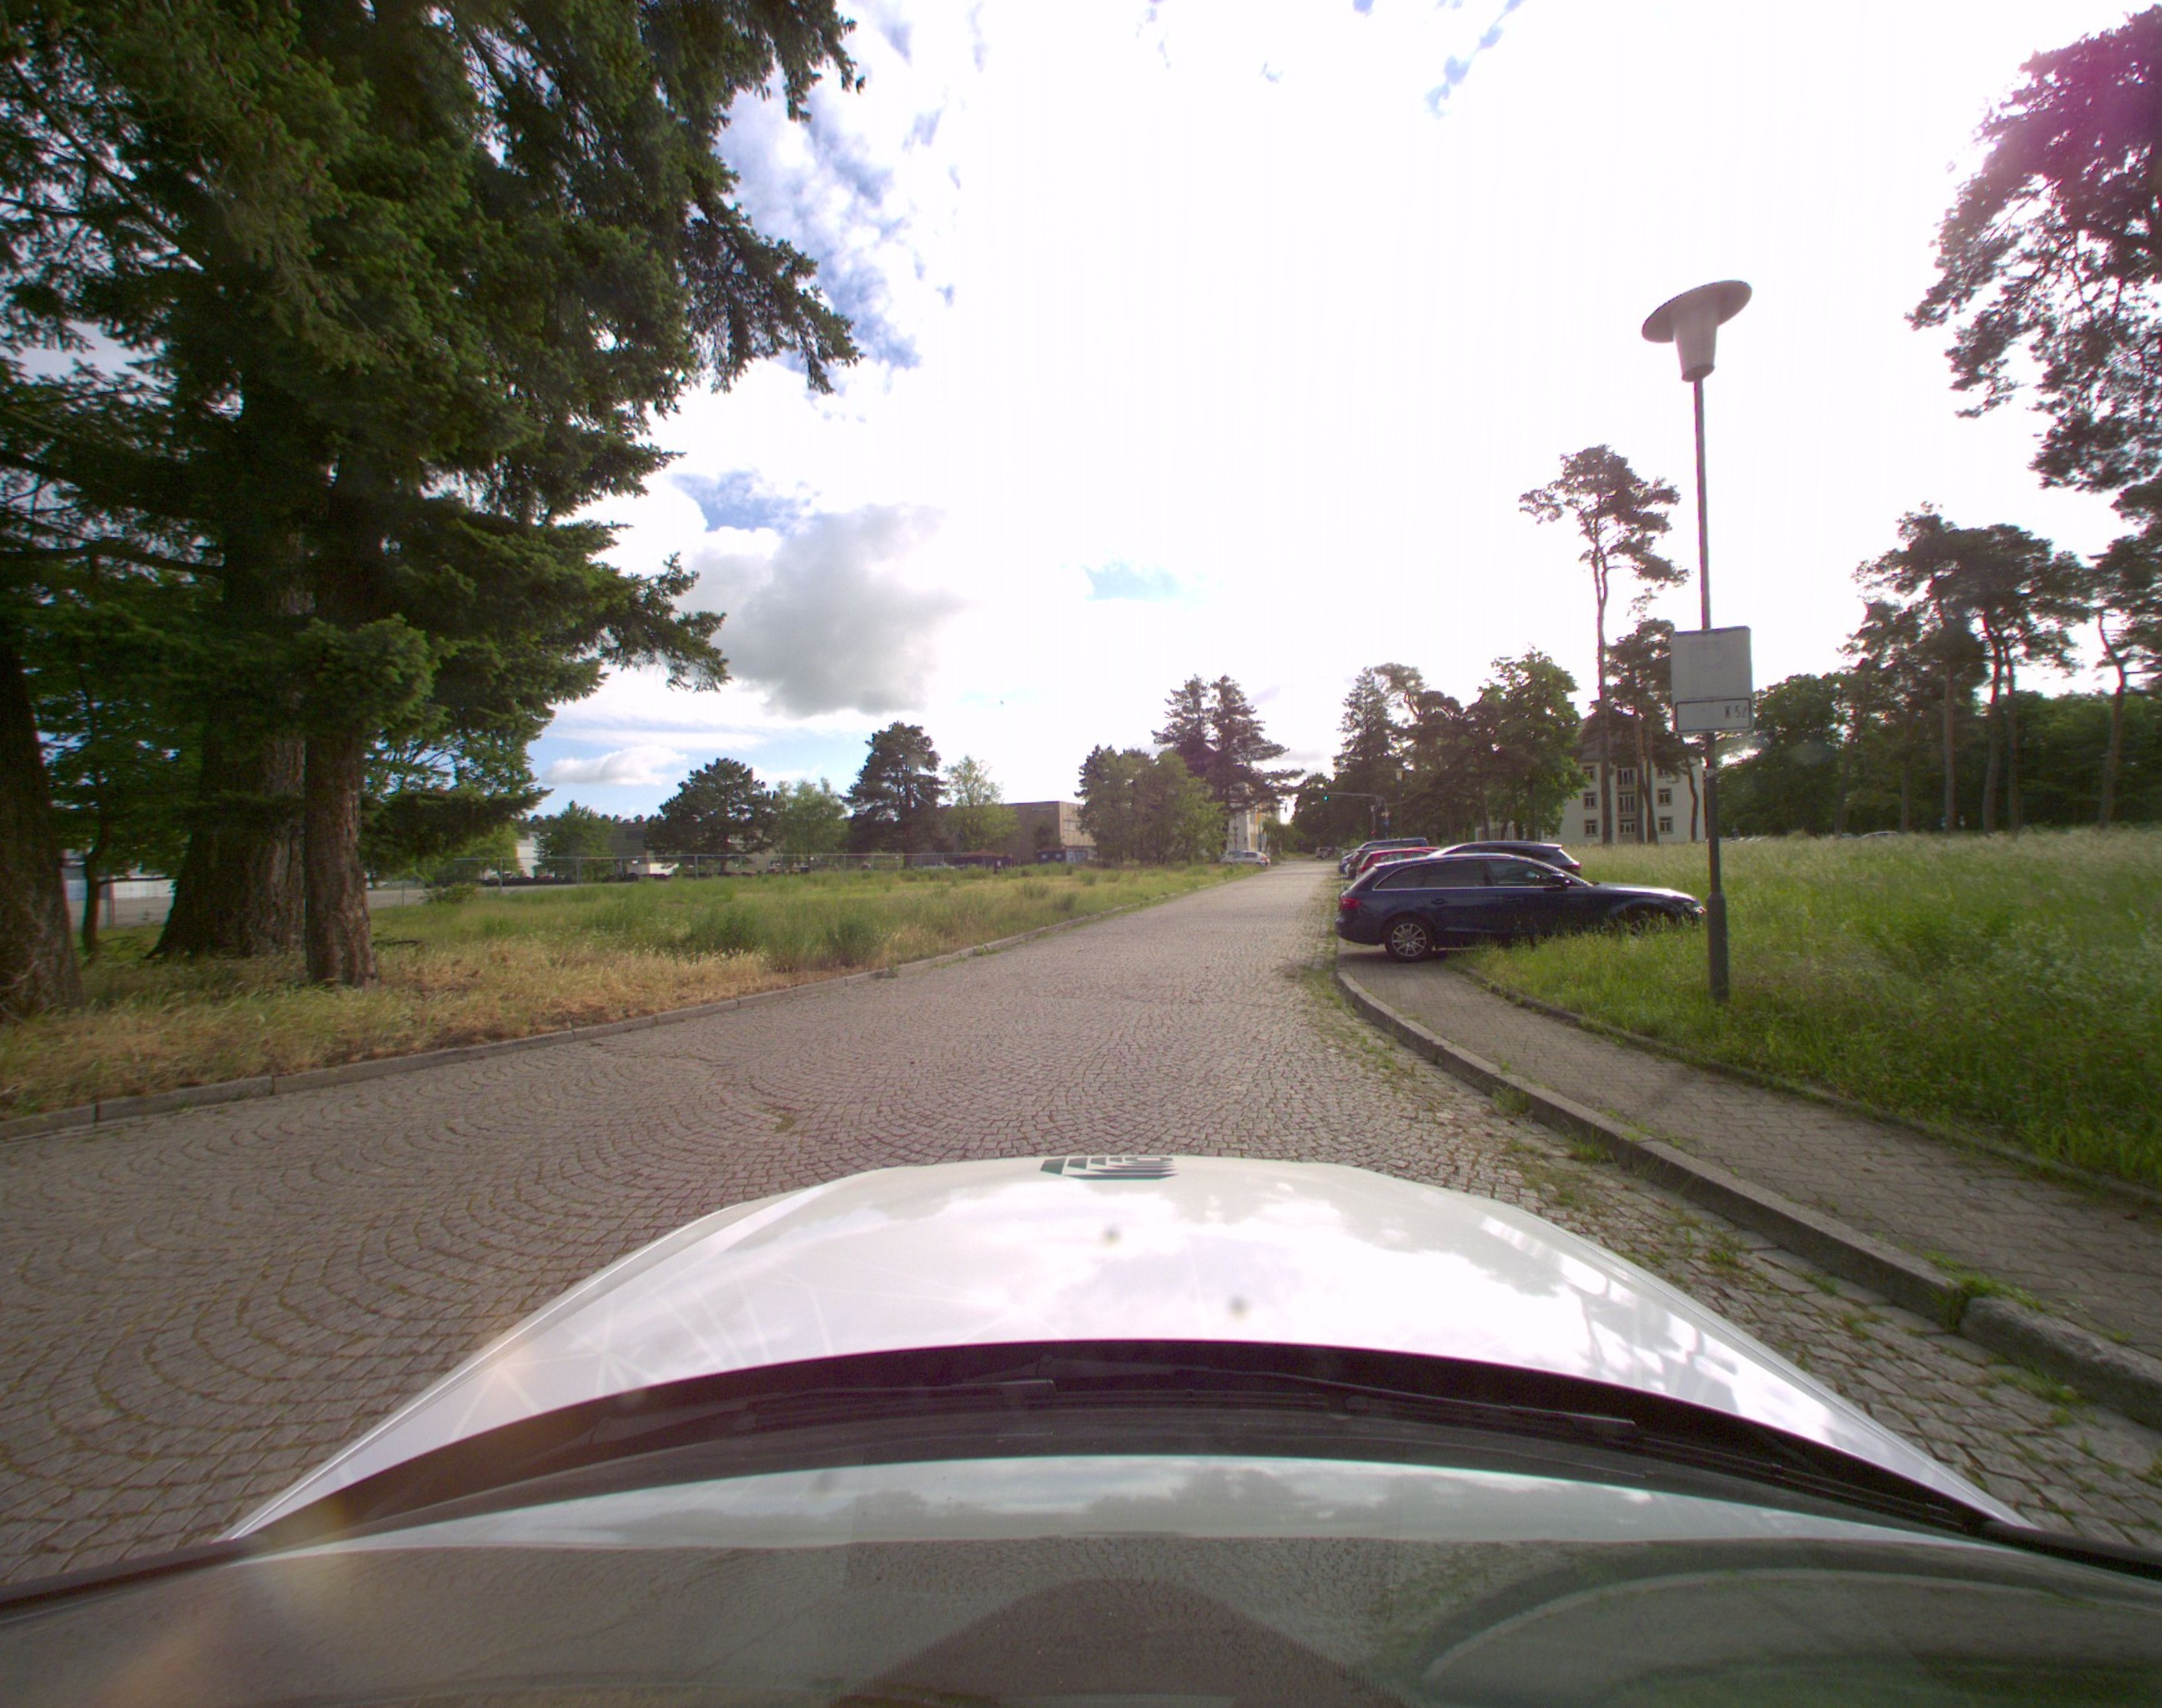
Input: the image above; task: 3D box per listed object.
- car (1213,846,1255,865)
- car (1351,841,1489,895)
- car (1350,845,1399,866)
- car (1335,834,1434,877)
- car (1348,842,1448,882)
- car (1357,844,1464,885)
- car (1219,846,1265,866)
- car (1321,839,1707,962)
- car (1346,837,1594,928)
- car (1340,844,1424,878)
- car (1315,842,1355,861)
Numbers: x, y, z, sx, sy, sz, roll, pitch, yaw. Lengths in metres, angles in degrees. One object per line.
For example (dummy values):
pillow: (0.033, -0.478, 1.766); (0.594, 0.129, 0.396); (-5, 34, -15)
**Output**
car: (13.982, 0.123, 74.527); (3.696, 1.437, 1.631); (-4, 0, 10)
car: (10.593, 0.439, 25.729); (3.853, 1.478, 1.679); (-3, -1, 17)
car: (24.013, 0.115, 66.781); (3.424, 1.432, 1.632); (-5, 0, 8)
car: (16.403, 0.076, 44.299); (4.784, 1.866, 2.171); (-5, 0, 16)
car: (13.841, 0.364, 35.754); (3.877, 1.603, 1.828); (-2, 0, 15)
car: (13.328, 0.435, 33.189); (3.909, 1.520, 1.715); (-2, -1, 18)
car: (13.654, 0.143, 69.066); (3.693, 1.437, 1.633); (-4, 0, 14)
car: (5.740, 0.654, 11.359); (4.393, 1.480, 1.691); (-3, -1, 21)
car: (7.409, 0.543, 15.967); (4.106, 1.573, 1.798); (-2, 0, 16)
car: (15.484, 0.372, 42.125); (3.890, 1.393, 1.750); (-5, 0, 16)
car: (41.135, -0.456, 132.088); (5.741, 2.562, 2.779); (-5, 0, 12)
